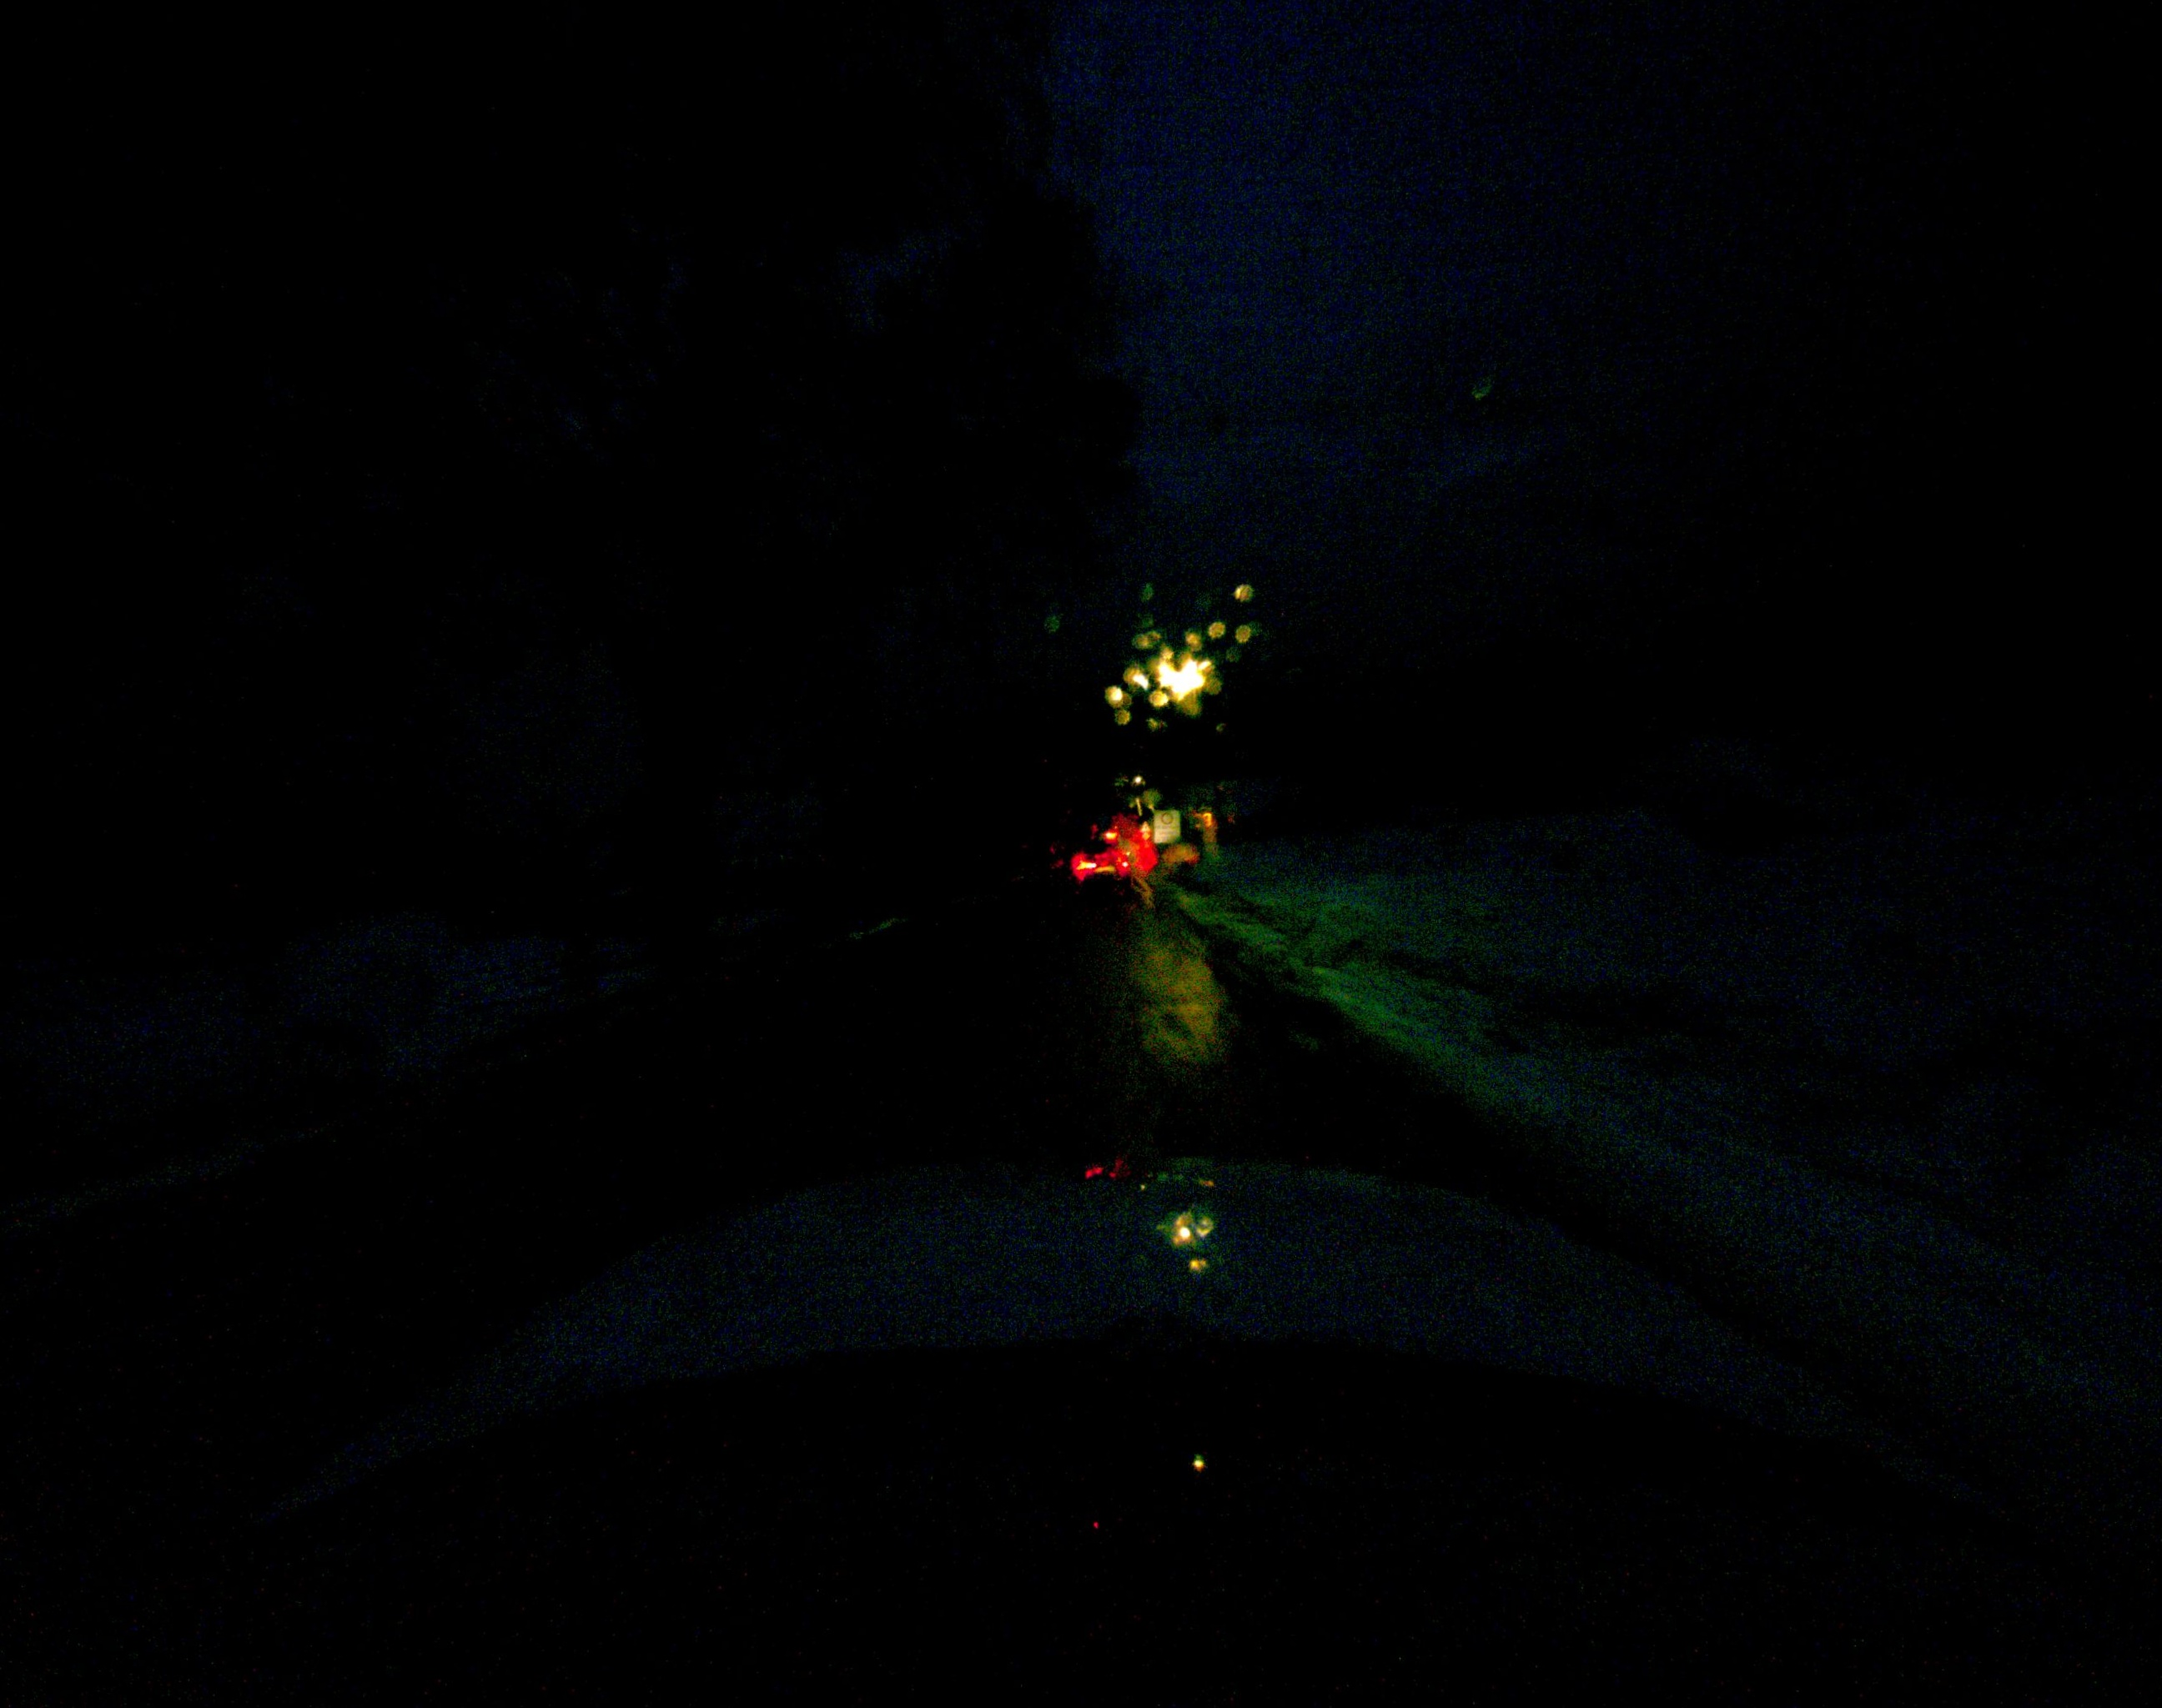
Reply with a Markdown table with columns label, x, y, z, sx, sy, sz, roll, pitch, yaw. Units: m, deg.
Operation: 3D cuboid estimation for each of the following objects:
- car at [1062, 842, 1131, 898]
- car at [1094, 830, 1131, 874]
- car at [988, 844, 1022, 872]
| label | x | y | z | sx | sy | sz | roll | pitch | yaw |
| --- | --- | --- | --- | --- | --- | --- | --- | --- | --- |
| car | 0.575 | 0.537 | 30.537 | 2.266 | 1.840 | 5.007 | -3 | 0 | 1 |
| car | 2.415 | -0.116 | 61.363 | 2.425 | 3.018 | 5.329 | -4 | -1 | 3 |
| car | -7.305 | 0.381 | 79.131 | 2.461 | 2.571 | 6.229 | -2 | 0 | 1 |
